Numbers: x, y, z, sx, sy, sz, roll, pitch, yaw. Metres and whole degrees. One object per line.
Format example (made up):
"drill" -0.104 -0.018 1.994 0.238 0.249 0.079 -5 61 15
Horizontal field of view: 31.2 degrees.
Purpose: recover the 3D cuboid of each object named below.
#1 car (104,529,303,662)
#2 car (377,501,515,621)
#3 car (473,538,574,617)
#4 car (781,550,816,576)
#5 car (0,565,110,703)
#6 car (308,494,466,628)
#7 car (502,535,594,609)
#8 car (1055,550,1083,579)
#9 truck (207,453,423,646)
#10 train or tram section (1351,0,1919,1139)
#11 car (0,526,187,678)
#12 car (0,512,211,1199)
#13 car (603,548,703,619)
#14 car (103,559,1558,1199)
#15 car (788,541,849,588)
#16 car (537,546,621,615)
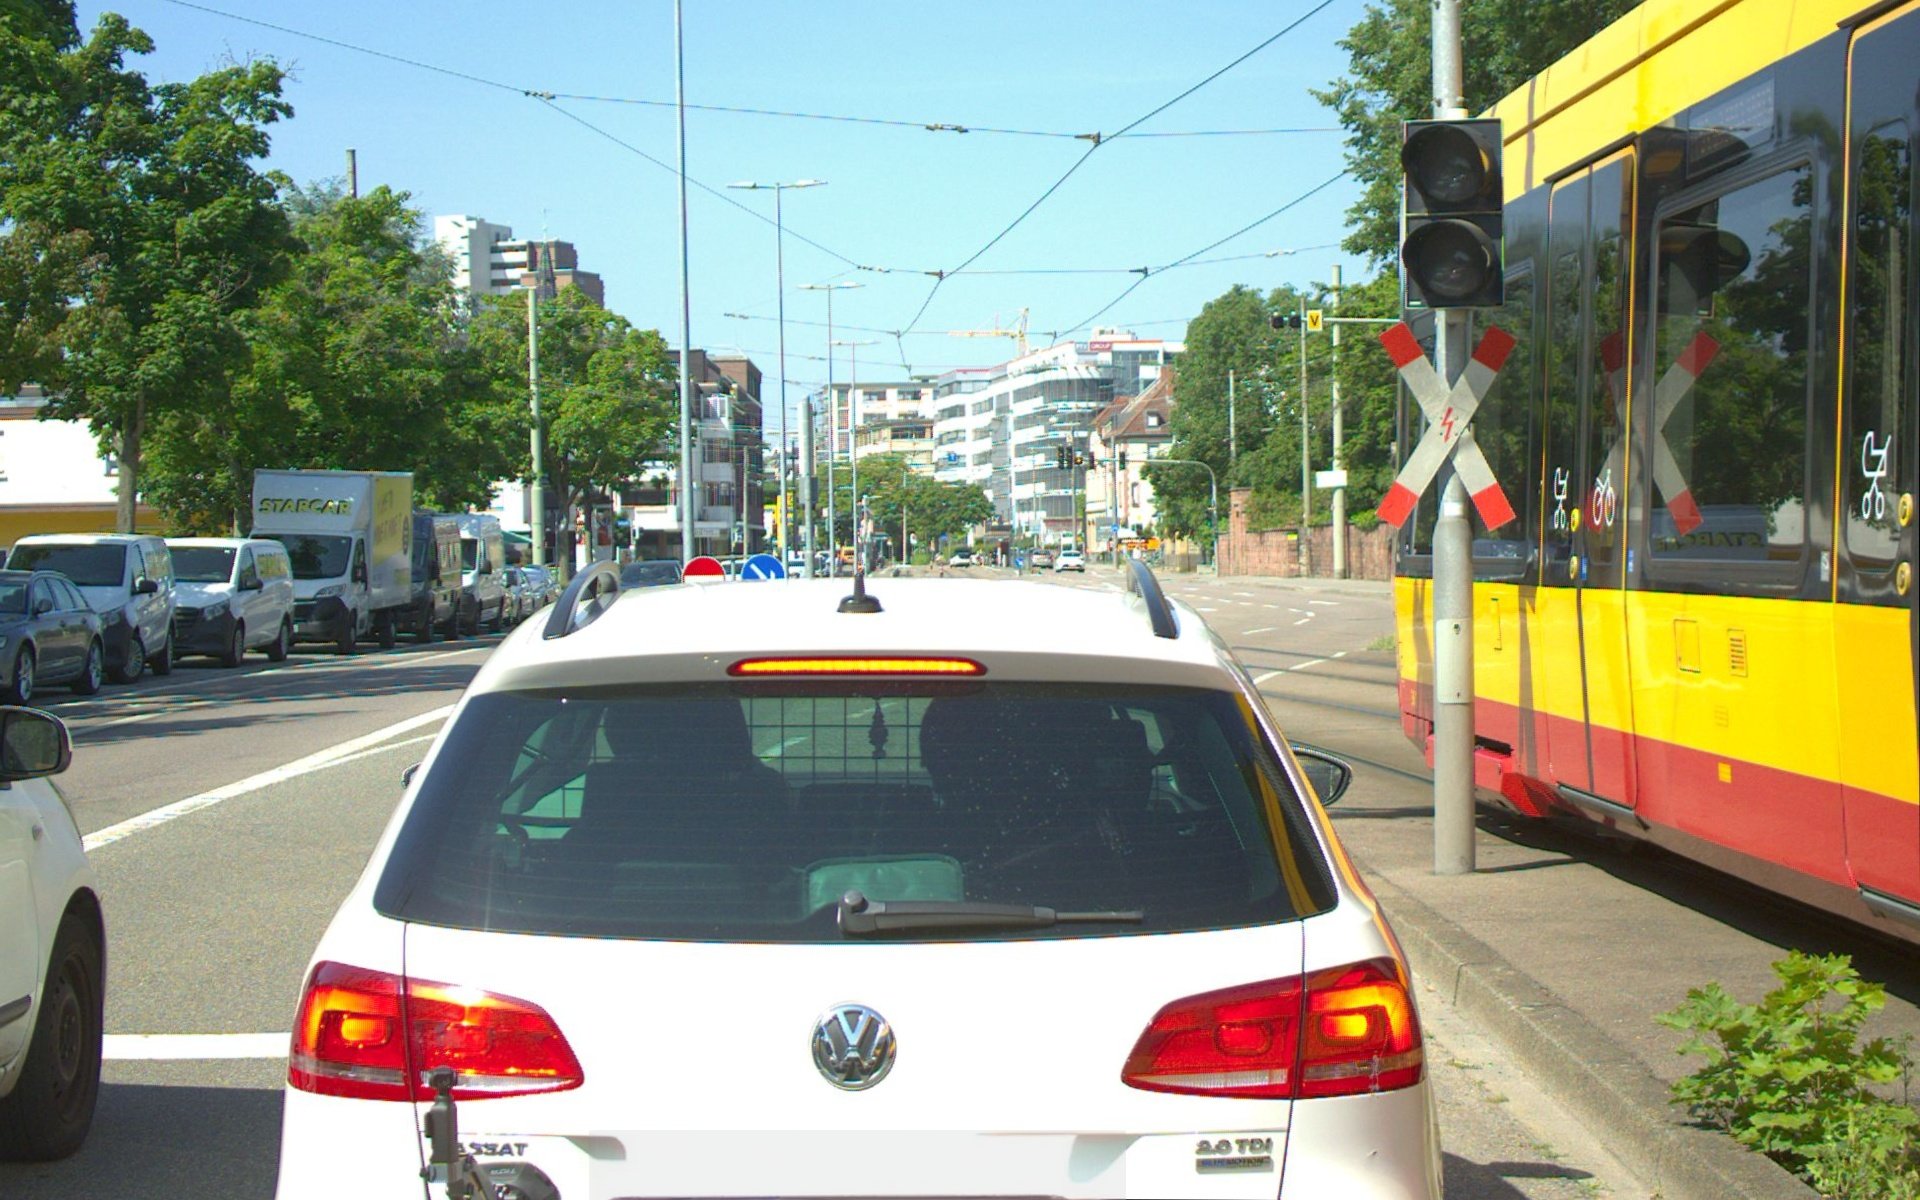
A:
"car" -11.340 -0.117 51.910 1.863 1.861 5.414 1 1 -1
"car" -11.272 -0.871 75.762 2.123 2.508 5.733 1 1 0
"car" -10.729 -0.585 84.875 1.863 1.861 5.414 1 1 -1
"car" -9.282 -2.143 198.284 1.705 1.468 4.589 -2 1 1
"car" -11.015 0.333 38.715 1.863 1.411 4.280 1 1 -1
"car" -11.324 -0.801 68.325 2.123 2.508 5.733 1 1 0
"car" -10.952 -0.774 91.689 1.863 1.861 5.414 1 1 -1
"car" 7.212 -2.358 227.749 1.608 1.857 3.731 1 1 -1
"truck" -11.212 -0.902 60.323 2.421 3.139 6.997 1 1 0
"train or tram section" 3.641 -0.753 13.227 2.870 3.842 10.539 -1 1 -1
"car" -11.465 -0.024 45.317 1.863 1.861 5.075 1 1 -6
"car" -2.948 0.584 7.374 1.662 1.542 4.547 0 1 0
"car" -6.781 -0.386 76.297 1.705 1.468 4.589 -2 1 1
"car" -0.169 0.673 6.215 1.762 1.425 4.000 -1 1 -1
"car" -4.621 -1.179 112.822 1.705 1.468 4.589 -2 1 1
"car" -10.899 -0.589 98.609 1.863 1.861 5.414 1 1 -1
